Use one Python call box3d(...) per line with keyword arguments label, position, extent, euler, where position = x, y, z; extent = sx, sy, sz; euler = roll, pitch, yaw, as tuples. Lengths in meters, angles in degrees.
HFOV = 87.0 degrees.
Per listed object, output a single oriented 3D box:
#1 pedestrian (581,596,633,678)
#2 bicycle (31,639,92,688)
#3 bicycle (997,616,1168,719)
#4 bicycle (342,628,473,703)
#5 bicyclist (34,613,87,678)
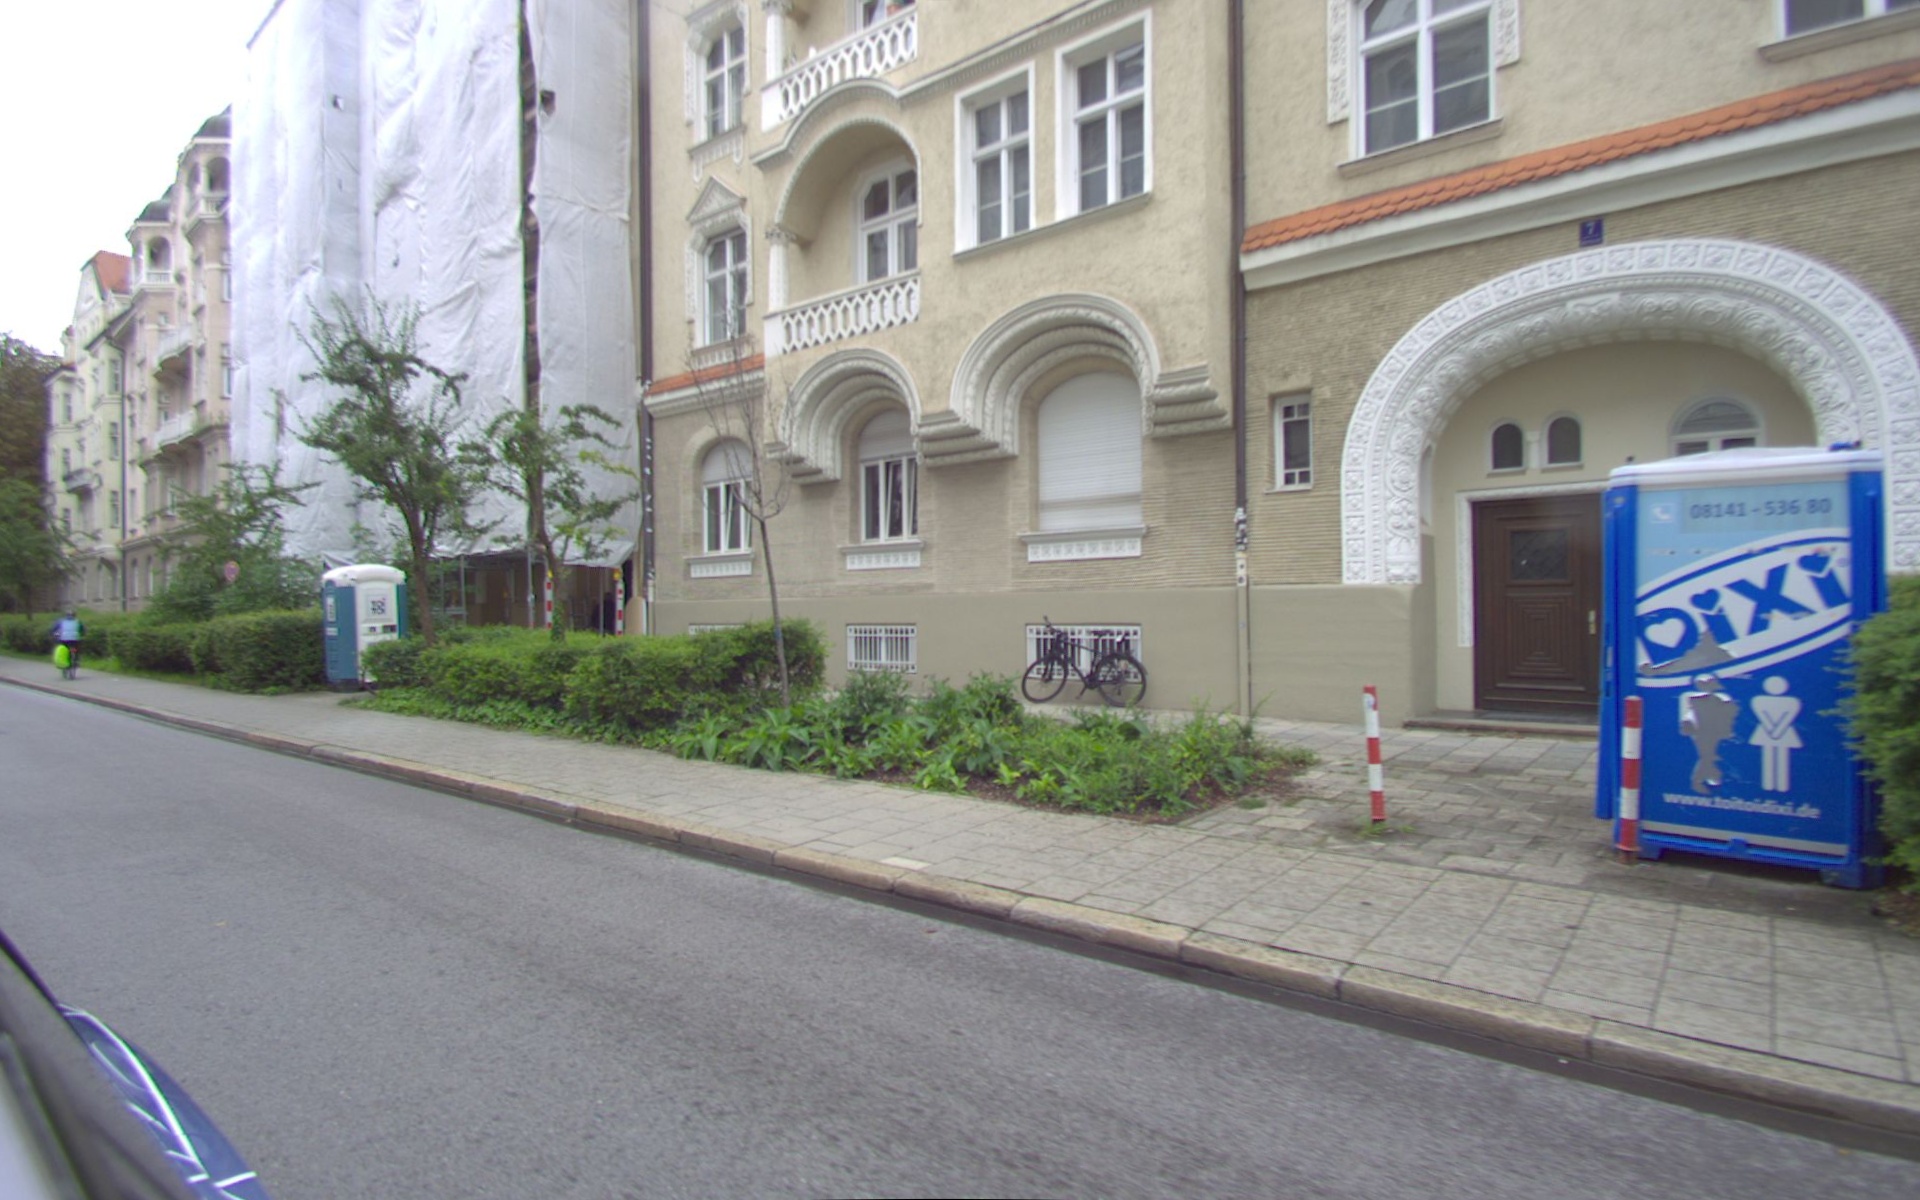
box3d(label="pedestrian", position=(-7.813, 0.811, 22.386), extent=(0.772, 1.759, 0.762), euler=(-1, 0, 38))
box3d(label="bicycle", position=(-21.786, 1.507, 24.523), extent=(2.047, 1.090, 0.760), euler=(-1, 1, 39))
box3d(label="bicycle", position=(1.563, 0.842, 13.168), extent=(2.076, 1.215, 0.812), euler=(-2, 0, 40))
box3d(label="bicycle", position=(-9.688, 1.114, 17.795), extent=(0.690, 1.085, 1.841), euler=(-1, 3, 41))
box3d(label="bicyclist", position=(-21.784, 1.081, 24.500), extent=(1.059, 1.504, 0.760), euler=(-1, 1, 38))
